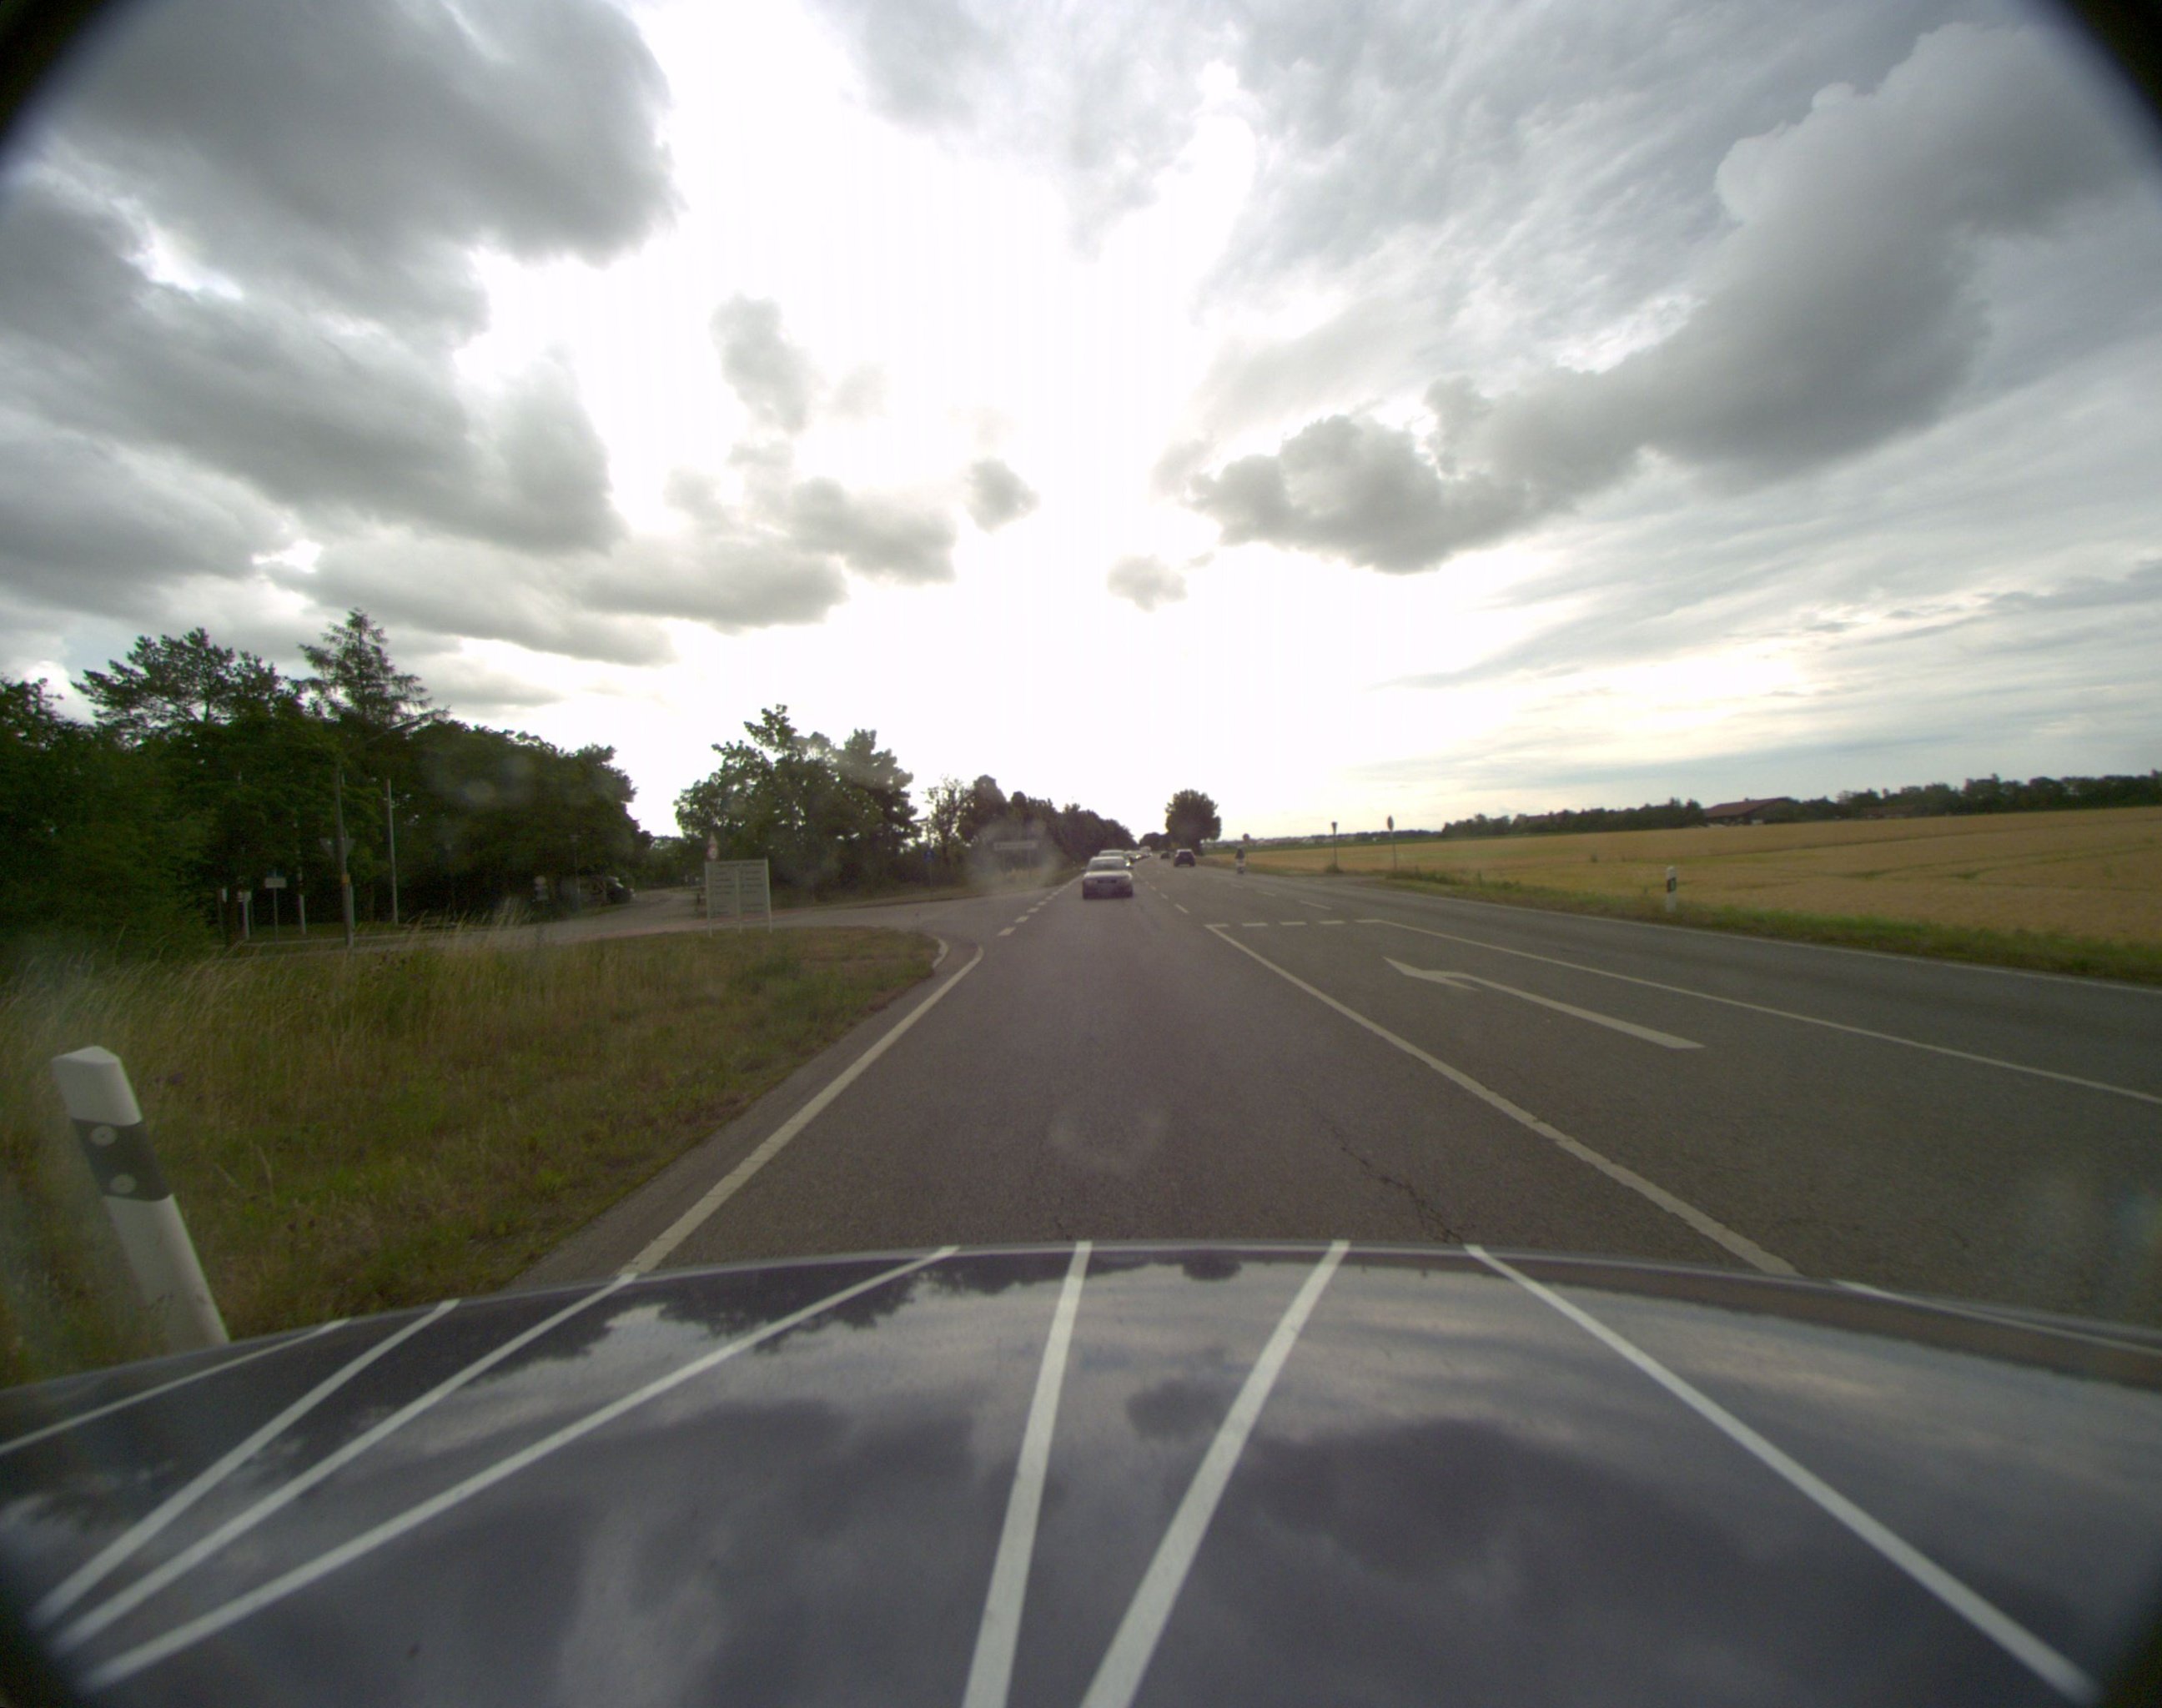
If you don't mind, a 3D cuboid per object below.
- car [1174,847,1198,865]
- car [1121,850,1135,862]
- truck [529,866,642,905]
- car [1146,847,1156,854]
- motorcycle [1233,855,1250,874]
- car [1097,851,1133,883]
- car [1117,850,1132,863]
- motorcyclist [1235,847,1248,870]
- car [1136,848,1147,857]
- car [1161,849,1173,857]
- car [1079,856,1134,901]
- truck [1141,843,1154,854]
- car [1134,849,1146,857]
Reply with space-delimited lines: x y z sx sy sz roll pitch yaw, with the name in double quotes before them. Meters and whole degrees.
"car" 10.312 0.213 74.972 1.951 1.684 4.447 -2 0 3
"car" 6.535 0.262 105.181 1.793 1.573 4.188 -2 0 4
"truck" -46.294 2.874 71.329 8.383 3.092 3.067 -3 1 -25
"car" 16.828 -0.865 182.614 1.792 1.531 4.140 -2 0 10
"motorcycle" 10.107 0.625 47.874 0.727 1.142 2.024 -2 0 2
"car" 1.854 0.657 41.312 1.793 1.573 4.368 -2 0 2
"car" 5.498 0.296 95.036 1.793 1.573 4.368 -2 0 4
"motorcyclist" 10.098 0.274 47.784 0.641 1.376 0.809 -2 1 2
"car" 11.527 -0.253 144.818 1.792 1.573 4.139 -2 0 9
"car" 16.026 -0.161 141.593 1.997 1.501 4.003 -1 0 9
"car" 0.986 0.845 27.698 1.793 1.415 4.368 -2 0 3
"truck" 17.566 -1.543 200.591 2.318 2.749 7.678 -2 1 11
"car" 11.730 -0.231 149.972 1.953 1.573 4.140 -2 0 10
